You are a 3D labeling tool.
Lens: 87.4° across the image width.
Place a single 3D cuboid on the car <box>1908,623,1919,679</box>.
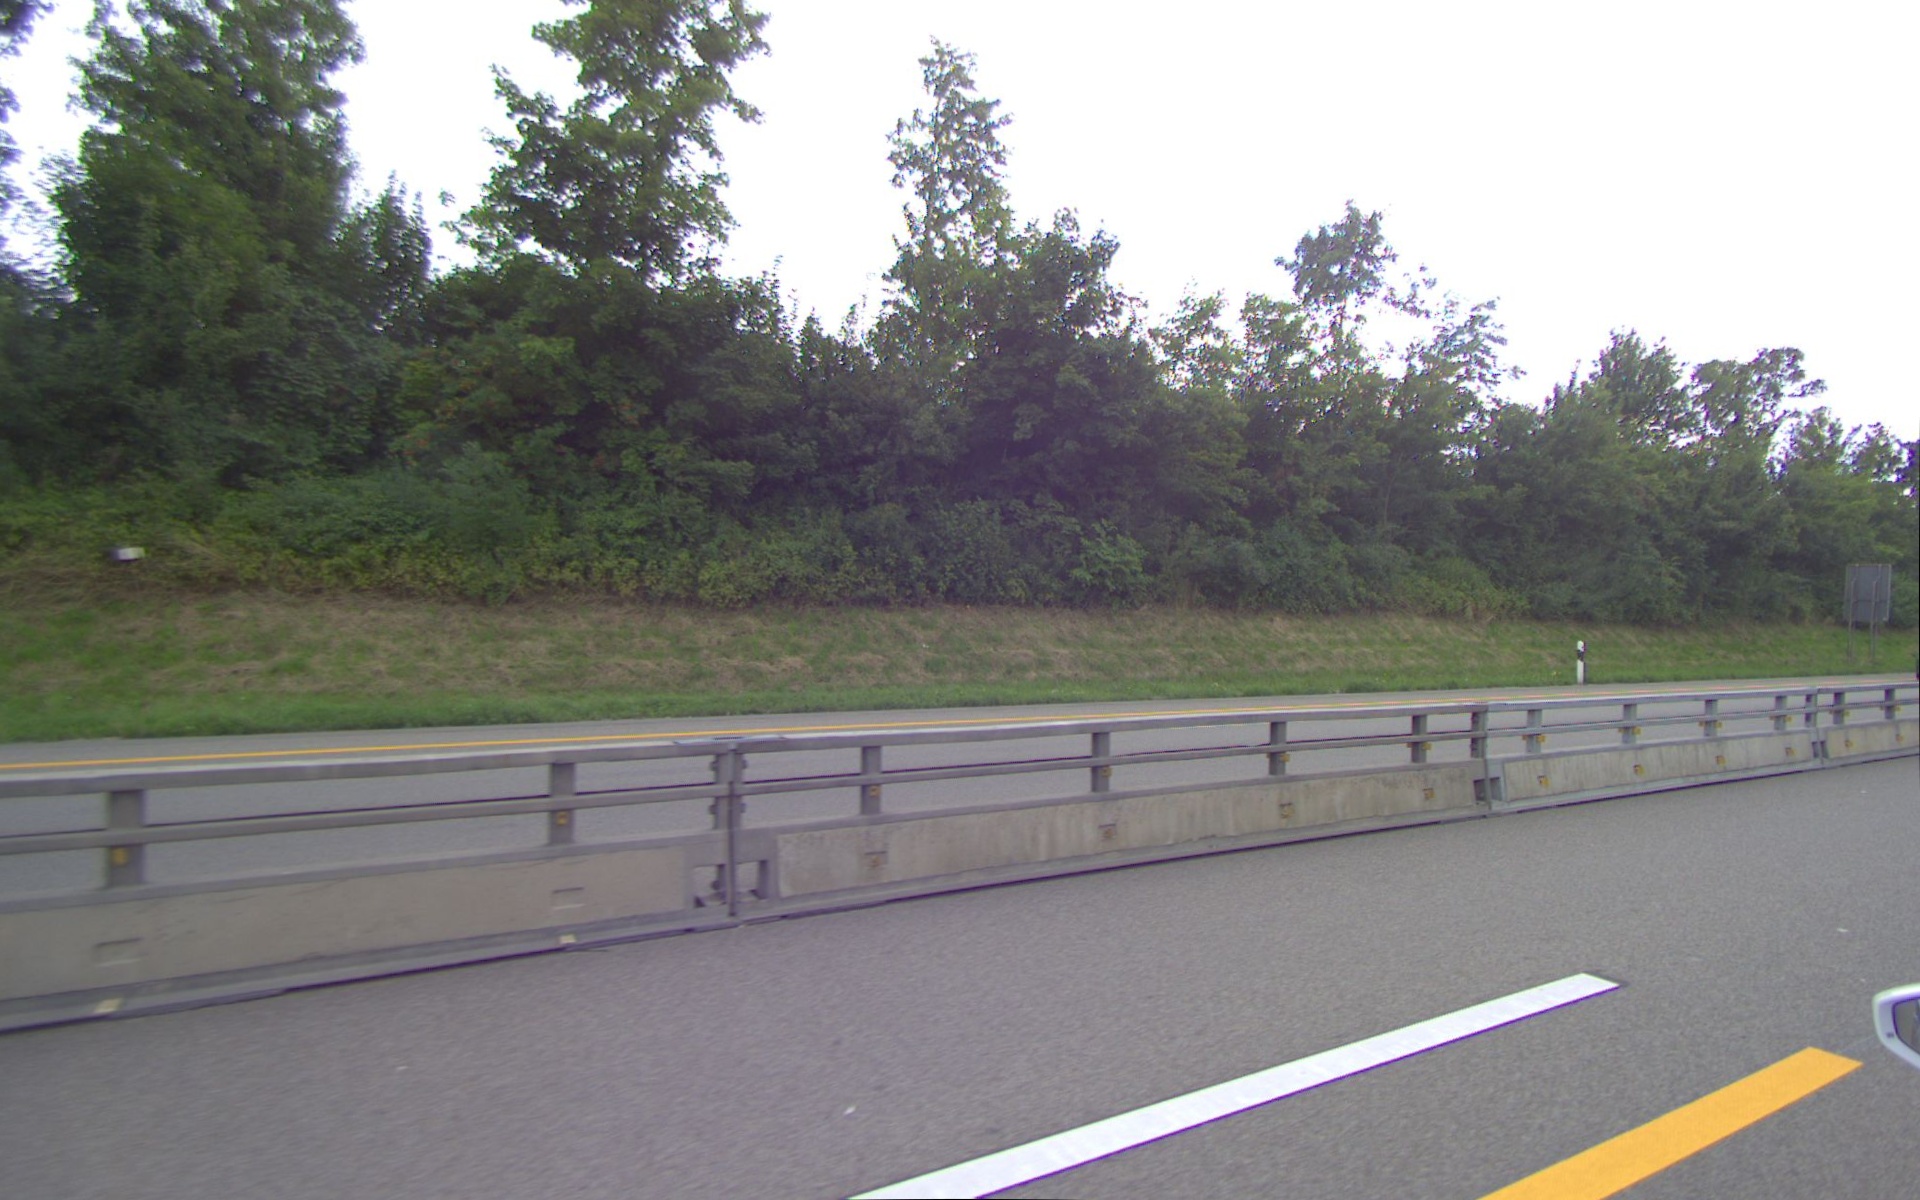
[{"bbox_3d":[28.860,1.472,28.652,3.904,1.571,1.673,1,-1,-31],"label":"car"}]
